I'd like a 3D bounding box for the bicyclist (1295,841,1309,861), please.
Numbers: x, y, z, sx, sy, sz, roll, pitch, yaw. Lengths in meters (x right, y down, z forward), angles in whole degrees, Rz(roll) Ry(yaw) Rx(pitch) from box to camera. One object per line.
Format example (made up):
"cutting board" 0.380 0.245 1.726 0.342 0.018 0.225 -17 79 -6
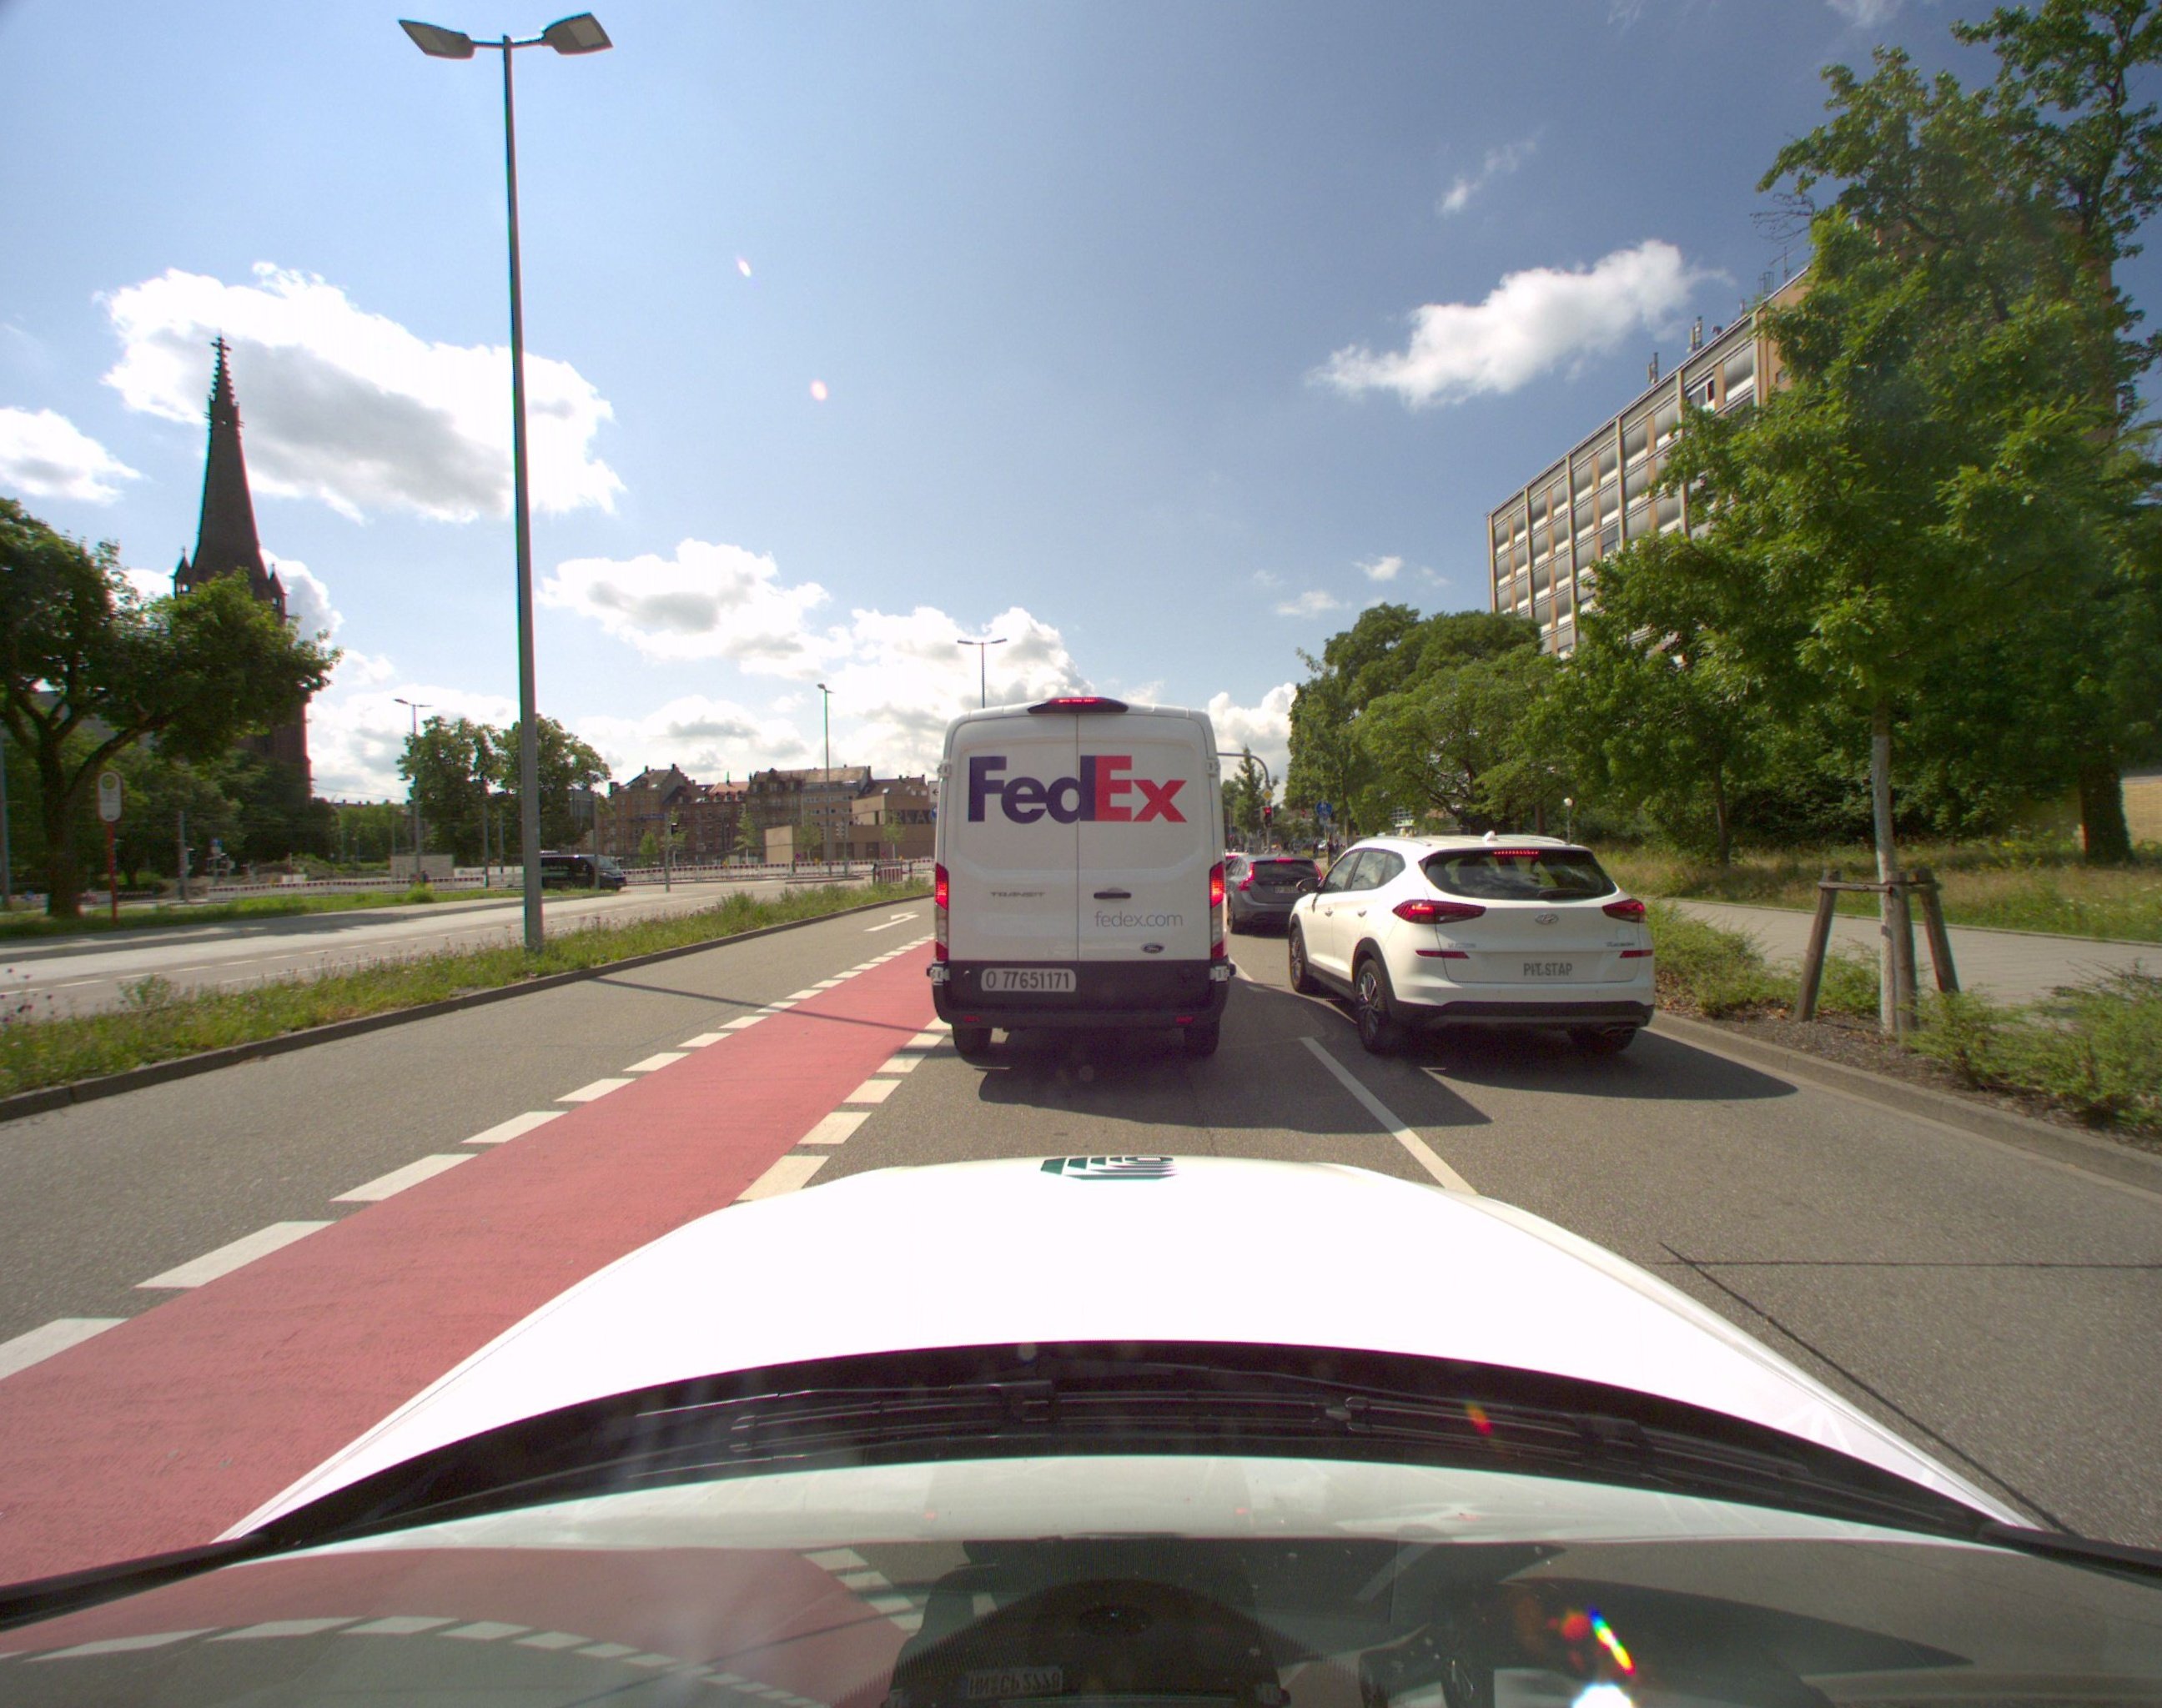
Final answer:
"bicyclist" 25.517 -0.370 93.862 1.421 2.171 1.345 -2 0 17

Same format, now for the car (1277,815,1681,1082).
"car" 3.043 0.599 7.246 1.807 1.678 3.978 -2 0 3

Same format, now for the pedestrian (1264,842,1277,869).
"pedestrian" 13.155 0.096 56.544 0.752 1.849 0.820 -2 0 20

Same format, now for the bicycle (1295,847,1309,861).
"bicycle" 25.560 0.005 93.971 1.414 1.464 4.330 -2 0 17

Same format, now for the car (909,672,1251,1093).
"car" 0.116 0.173 7.312 2.064 2.581 4.432 -2 0 3

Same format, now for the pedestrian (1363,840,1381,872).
"pedestrian" 17.140 0.088 48.026 0.755 1.849 0.817 -2 0 5

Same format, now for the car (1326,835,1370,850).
"car" 46.784 -2.020 142.849 7.068 2.717 2.485 0 -1 -13

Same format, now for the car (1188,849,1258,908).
"car" 3.874 0.611 22.681 1.493 1.464 3.477 -2 0 3

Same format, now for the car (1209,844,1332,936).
"car" 3.554 0.606 15.875 1.684 1.549 3.724 -2 0 3

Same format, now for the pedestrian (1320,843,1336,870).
"pedestrian" 15.179 0.158 49.982 0.755 1.655 0.817 -2 0 5

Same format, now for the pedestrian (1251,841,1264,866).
"pedestrian" 12.988 -0.036 59.816 0.810 1.849 0.762 -2 0 5

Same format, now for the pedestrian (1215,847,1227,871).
"pedestrian" 10.849 0.365 63.058 0.756 1.849 0.816 -2 0 -1

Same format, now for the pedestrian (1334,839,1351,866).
"pedestrian" 17.899 -0.102 55.758 0.758 1.849 0.814 -2 0 -6

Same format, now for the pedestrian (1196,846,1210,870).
"pedestrian" 9.615 0.281 64.145 0.760 1.849 0.812 -2 0 -14

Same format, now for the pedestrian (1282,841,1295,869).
"pedestrian" 13.912 0.087 54.602 0.752 1.849 0.820 -2 0 20

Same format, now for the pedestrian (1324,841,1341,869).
"pedestrian" 17.057 0.052 55.227 0.758 1.849 0.814 -2 0 -8

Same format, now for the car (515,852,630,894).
"car" -28.291 1.027 45.392 4.984 2.175 2.155 -2 0 1

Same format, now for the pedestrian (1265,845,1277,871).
"pedestrian" 13.717 0.308 58.888 0.753 1.849 0.820 -2 0 16

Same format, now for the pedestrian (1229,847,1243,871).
"pedestrian" 12.569 0.399 65.894 0.761 1.849 0.811 -2 0 -20

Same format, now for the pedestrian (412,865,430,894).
"pedestrian" -46.224 1.786 57.042 0.644 2.013 0.632 -2 0 -1
